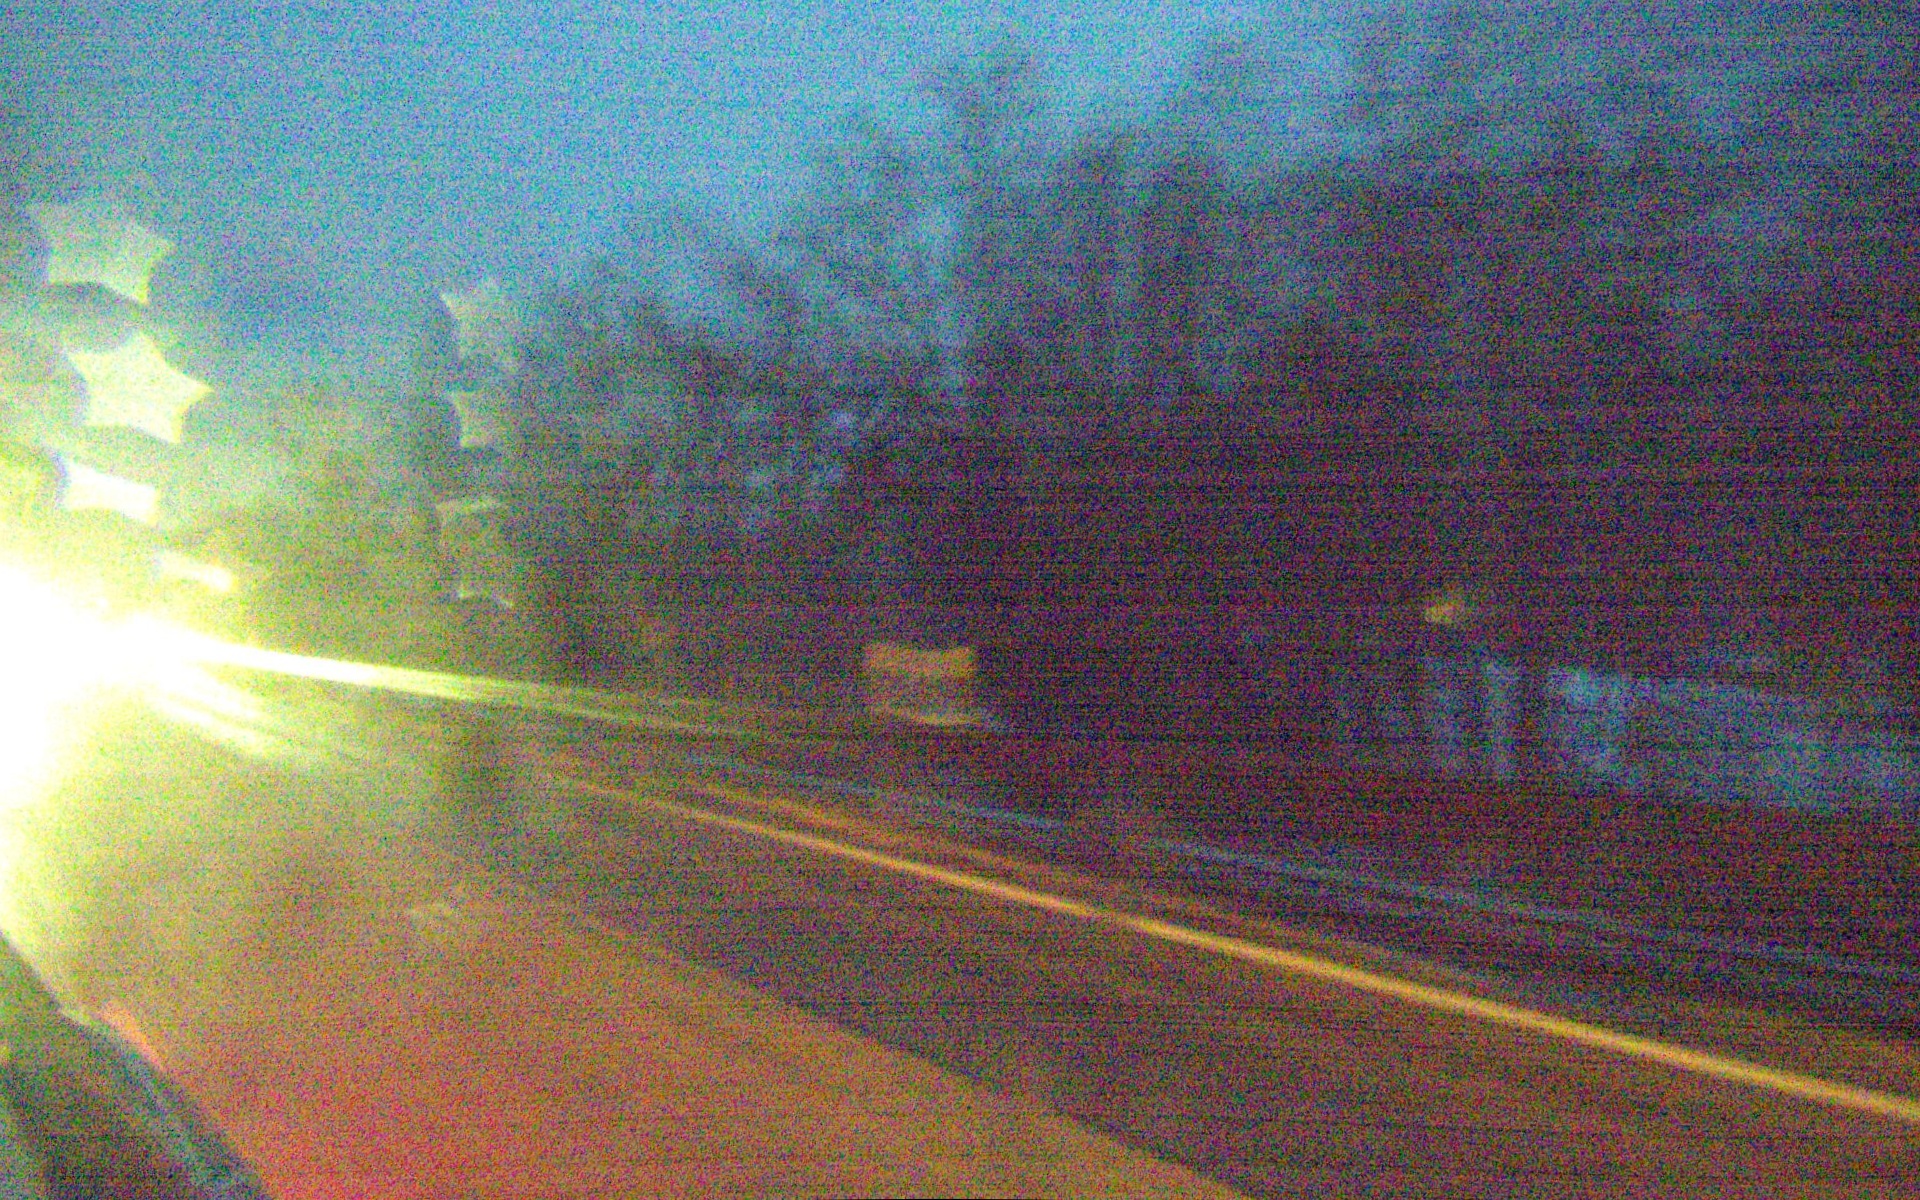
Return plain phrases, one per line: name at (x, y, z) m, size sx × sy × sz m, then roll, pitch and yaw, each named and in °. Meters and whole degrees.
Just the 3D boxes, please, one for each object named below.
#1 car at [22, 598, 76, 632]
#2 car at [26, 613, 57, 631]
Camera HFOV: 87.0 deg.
car at (-49.112, 0.772, 54.548) m, size 1.970 × 1.763 × 4.261 m, roll -1°, pitch 1°, yaw -44°
car at (-82.073, 1.923, 90.406) m, size 1.970 × 1.495 × 3.219 m, roll -1°, pitch 1°, yaw -44°
